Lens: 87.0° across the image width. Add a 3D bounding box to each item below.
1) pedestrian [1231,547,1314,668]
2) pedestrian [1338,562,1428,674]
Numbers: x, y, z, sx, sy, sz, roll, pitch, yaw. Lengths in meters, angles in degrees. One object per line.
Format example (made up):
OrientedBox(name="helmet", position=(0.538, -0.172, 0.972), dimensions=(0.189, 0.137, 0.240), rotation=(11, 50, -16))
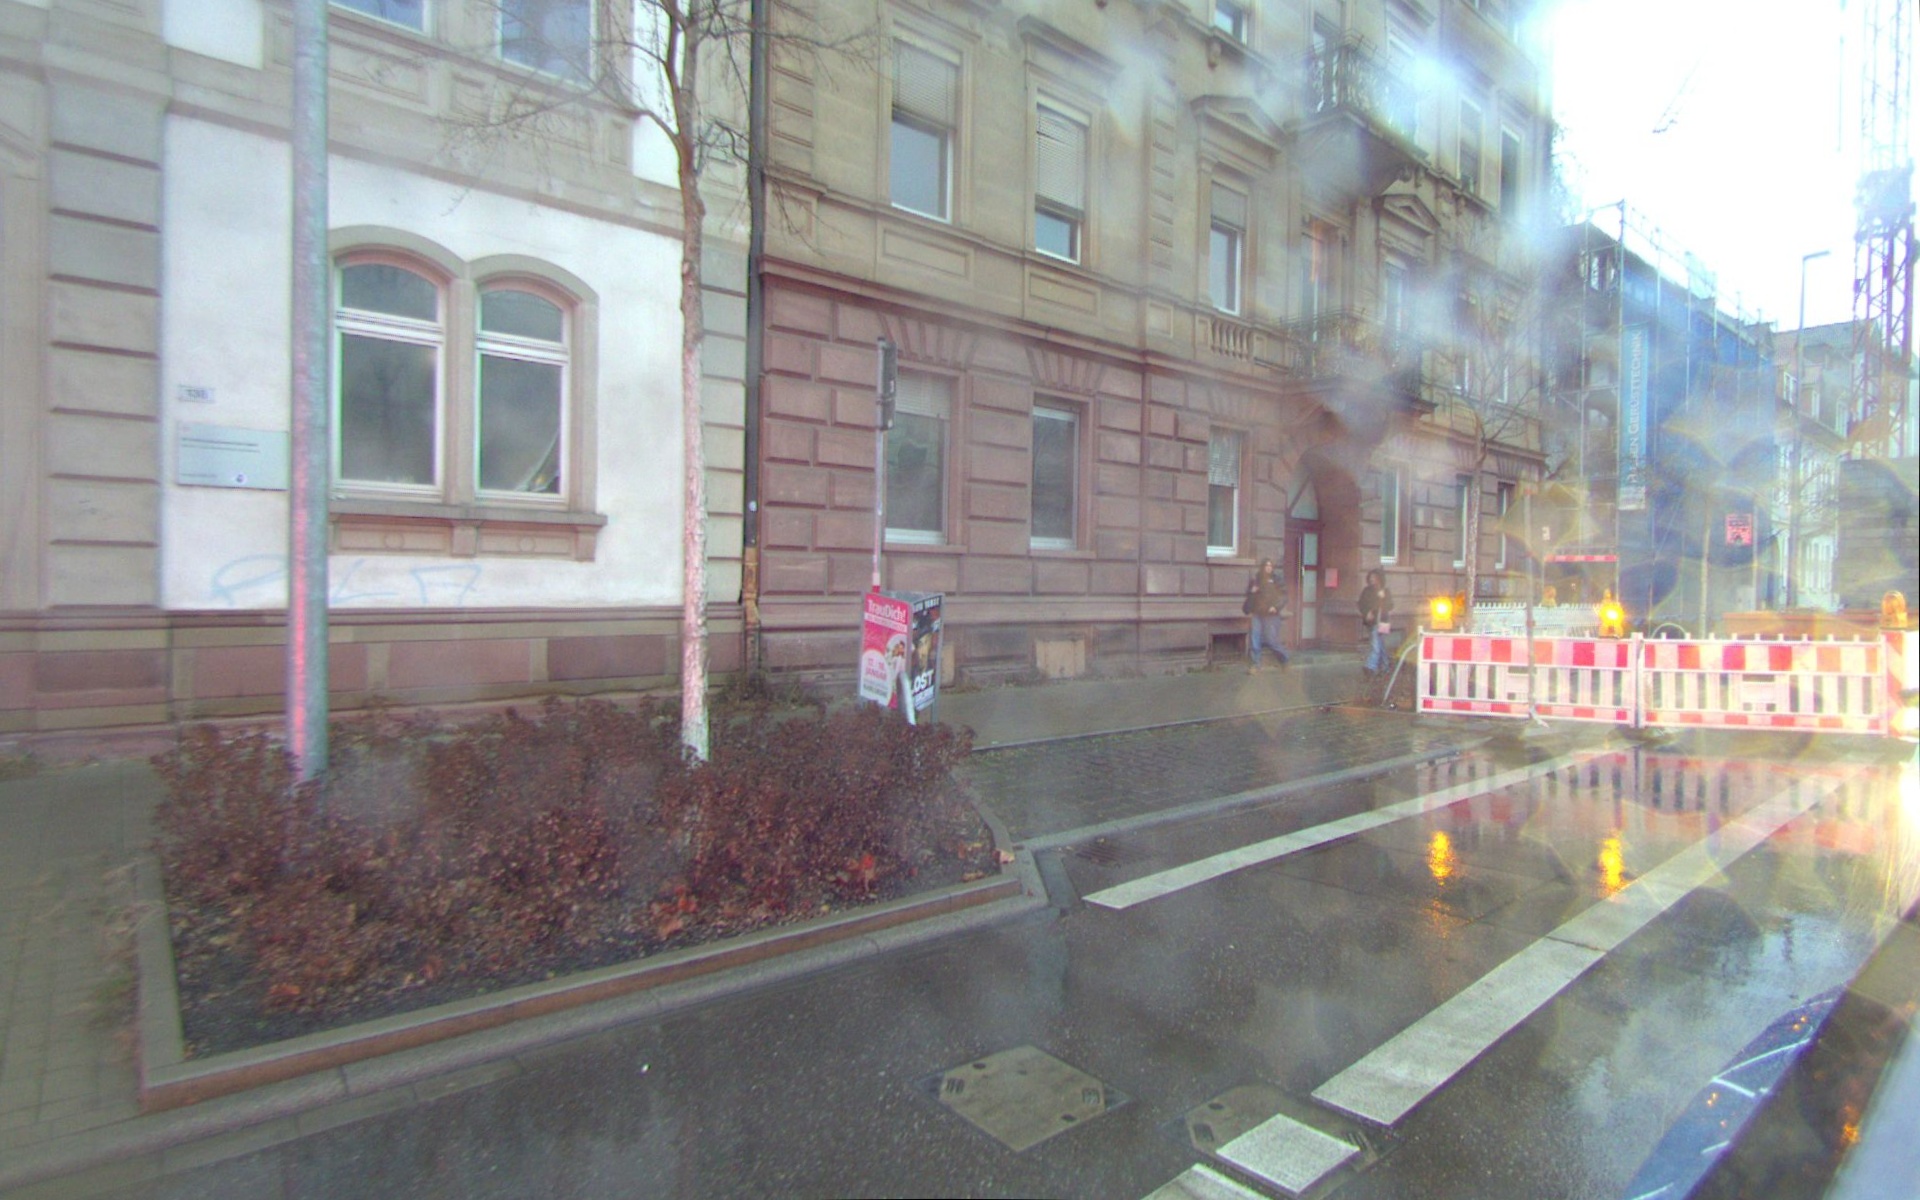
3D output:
OrientedBox(name="pedestrian", position=(4.507, 0.090, 14.630), dimensions=(0.693, 1.693, 0.871), rotation=(0, 1, -37))
OrientedBox(name="pedestrian", position=(6.192, 0.241, 14.820), dimensions=(0.913, 1.564, 0.870), rotation=(0, 2, -40))
